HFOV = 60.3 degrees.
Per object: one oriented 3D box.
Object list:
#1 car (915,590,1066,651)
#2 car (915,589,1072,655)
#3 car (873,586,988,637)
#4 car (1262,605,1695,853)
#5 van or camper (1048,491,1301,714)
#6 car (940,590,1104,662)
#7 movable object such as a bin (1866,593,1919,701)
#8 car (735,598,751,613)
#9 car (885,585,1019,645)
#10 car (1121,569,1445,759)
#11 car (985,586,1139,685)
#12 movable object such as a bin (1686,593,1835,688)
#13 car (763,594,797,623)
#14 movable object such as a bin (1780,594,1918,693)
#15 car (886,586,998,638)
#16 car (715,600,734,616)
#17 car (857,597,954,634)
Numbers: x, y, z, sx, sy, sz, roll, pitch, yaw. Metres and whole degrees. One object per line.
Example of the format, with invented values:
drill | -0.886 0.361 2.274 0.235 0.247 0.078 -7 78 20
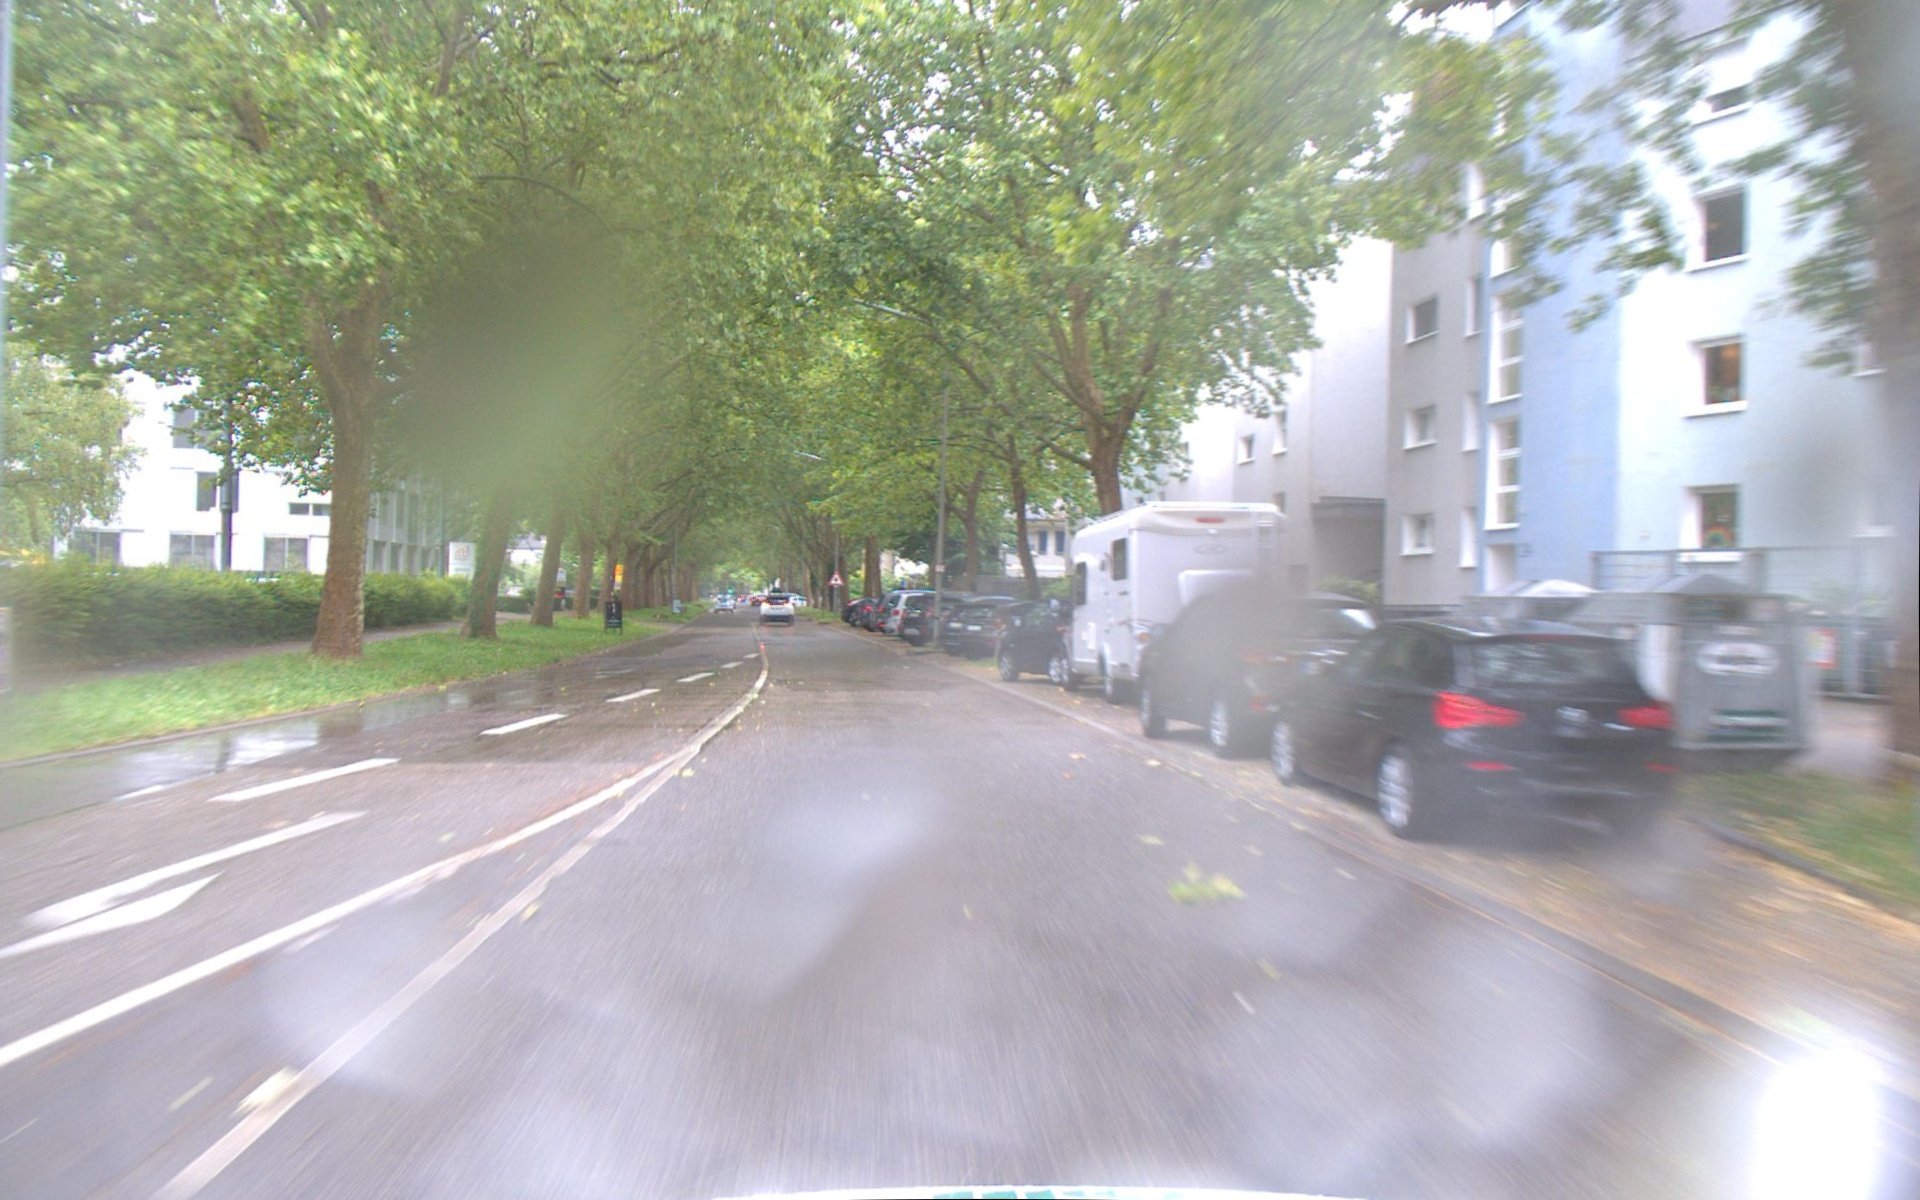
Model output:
car | 0.907 0.601 48.331 3.953 1.629 2.011 2 0 -35
car | 0.921 0.597 44.173 3.958 1.629 1.779 2 0 -38
car | -1.154 0.432 64.433 4.256 1.792 1.816 2 0 -8
car | 3.528 0.792 12.082 1.518 1.414 4.145 2 0 -5
van or camper | 3.010 0.034 25.181 2.274 2.856 6.855 2 0 -6
car | 1.541 0.658 40.540 3.729 1.629 1.779 2 0 -38
movable object such as a bin | 14.181 0.678 24.198 1.144 1.498 1.213 -2 2 -26
car | -22.093 0.536 168.429 1.674 1.436 3.638 -1 1 -8
car | -0.228 0.430 51.218 3.824 1.726 1.815 -1 2 -36
car | 3.144 0.623 17.096 1.880 1.649 4.444 2 -1 -9
car | 1.834 0.621 30.469 1.664 1.681 2.925 2 0 -23
movable object such as a bin | 13.113 0.643 27.147 1.197 1.457 1.848 2 0 -25
car | -9.350 0.437 85.844 1.674 1.436 3.638 -1 1 -8
movable object such as a bin | 13.762 0.667 25.642 1.300 1.457 1.360 2 0 -25
car | -0.674 0.429 60.962 3.911 1.757 1.798 2 0 -7
car | -21.852 0.738 153.415 1.647 1.413 4.542 0 0 -7
car | -2.362 0.656 71.341 3.963 1.466 1.681 -1 1 -11
